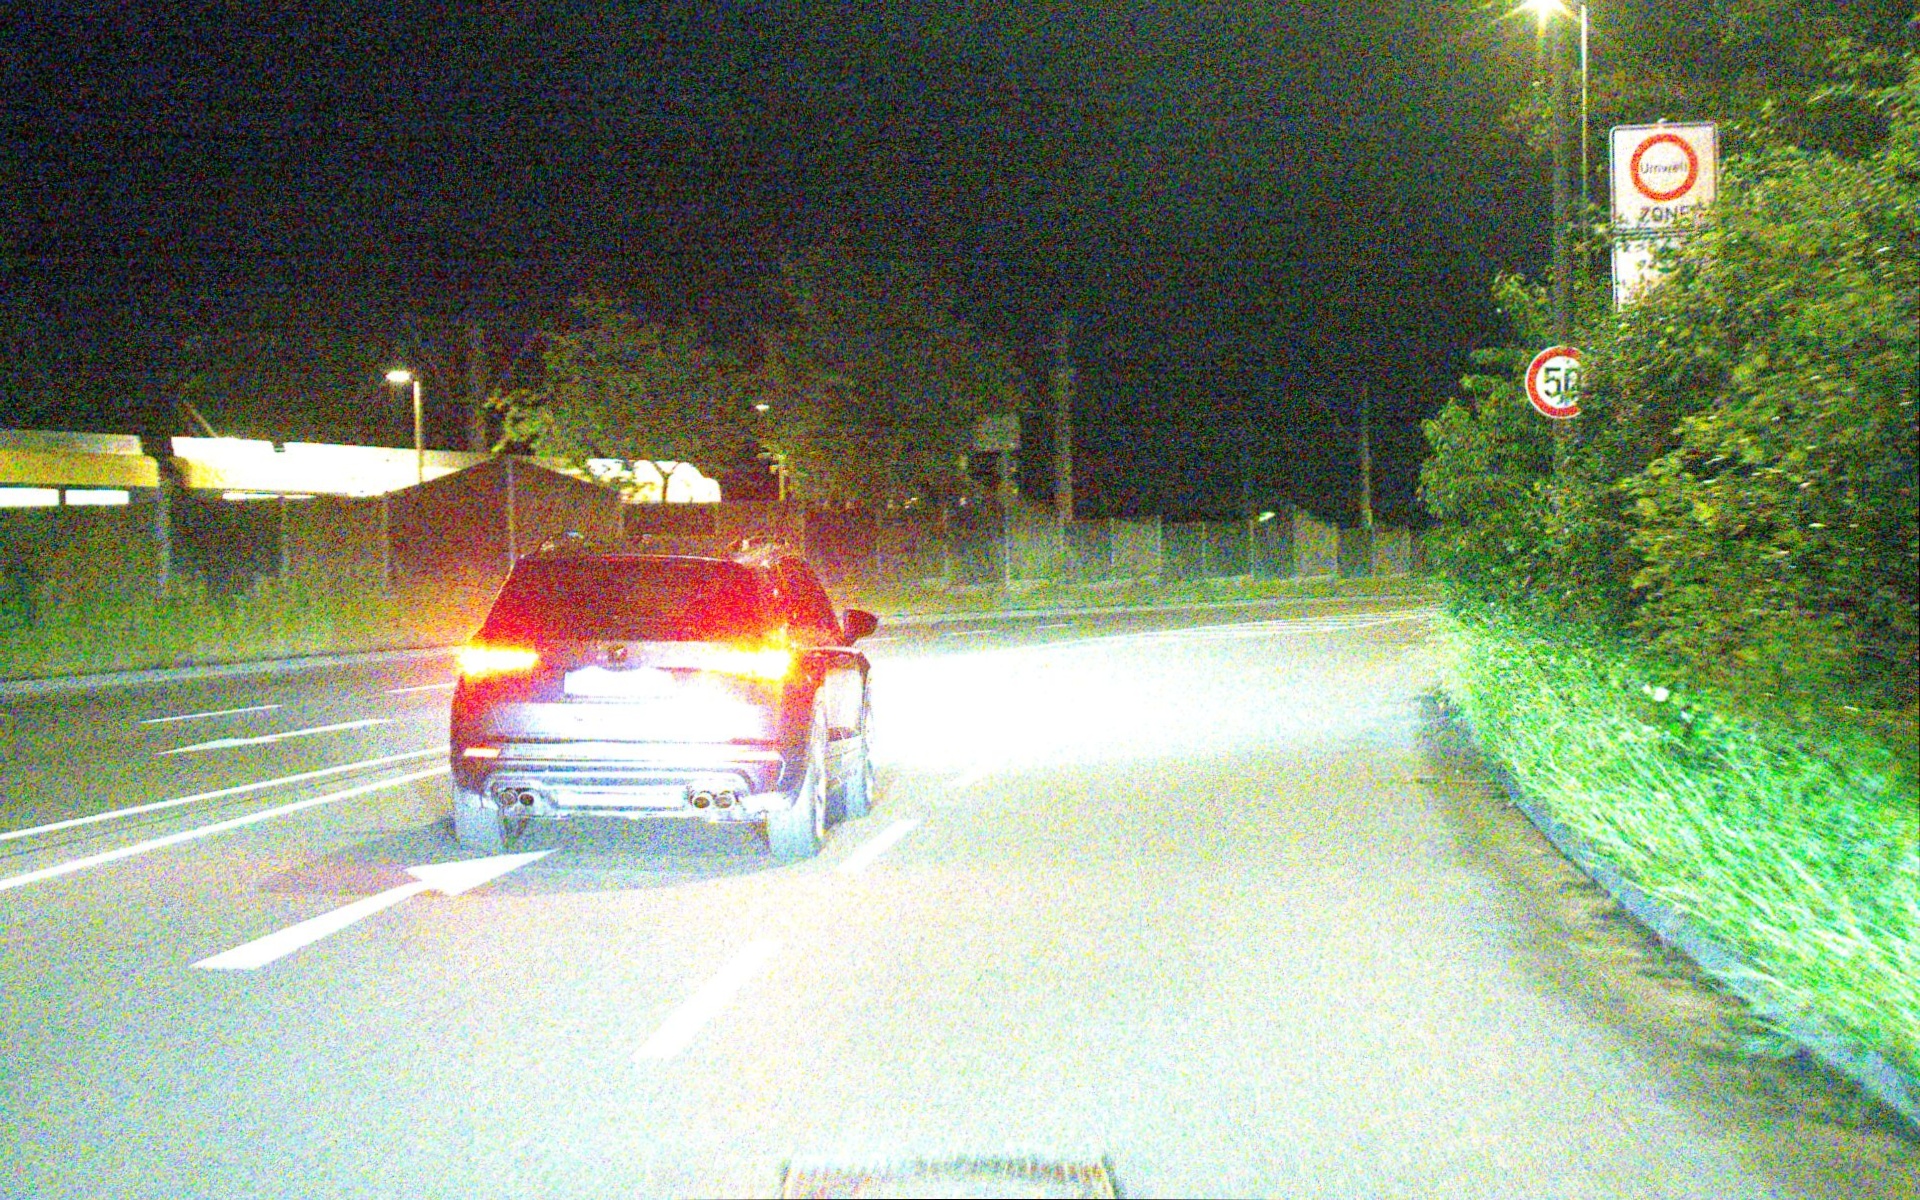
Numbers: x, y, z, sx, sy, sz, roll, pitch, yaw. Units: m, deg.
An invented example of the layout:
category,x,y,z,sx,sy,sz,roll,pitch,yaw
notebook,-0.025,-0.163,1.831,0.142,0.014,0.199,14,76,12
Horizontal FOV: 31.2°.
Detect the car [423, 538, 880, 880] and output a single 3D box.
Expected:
category,x,y,z,sx,sy,sz,roll,pitch,yaw
car,-1.496,0.480,18.084,1.815,1.568,3.943,1,1,3
